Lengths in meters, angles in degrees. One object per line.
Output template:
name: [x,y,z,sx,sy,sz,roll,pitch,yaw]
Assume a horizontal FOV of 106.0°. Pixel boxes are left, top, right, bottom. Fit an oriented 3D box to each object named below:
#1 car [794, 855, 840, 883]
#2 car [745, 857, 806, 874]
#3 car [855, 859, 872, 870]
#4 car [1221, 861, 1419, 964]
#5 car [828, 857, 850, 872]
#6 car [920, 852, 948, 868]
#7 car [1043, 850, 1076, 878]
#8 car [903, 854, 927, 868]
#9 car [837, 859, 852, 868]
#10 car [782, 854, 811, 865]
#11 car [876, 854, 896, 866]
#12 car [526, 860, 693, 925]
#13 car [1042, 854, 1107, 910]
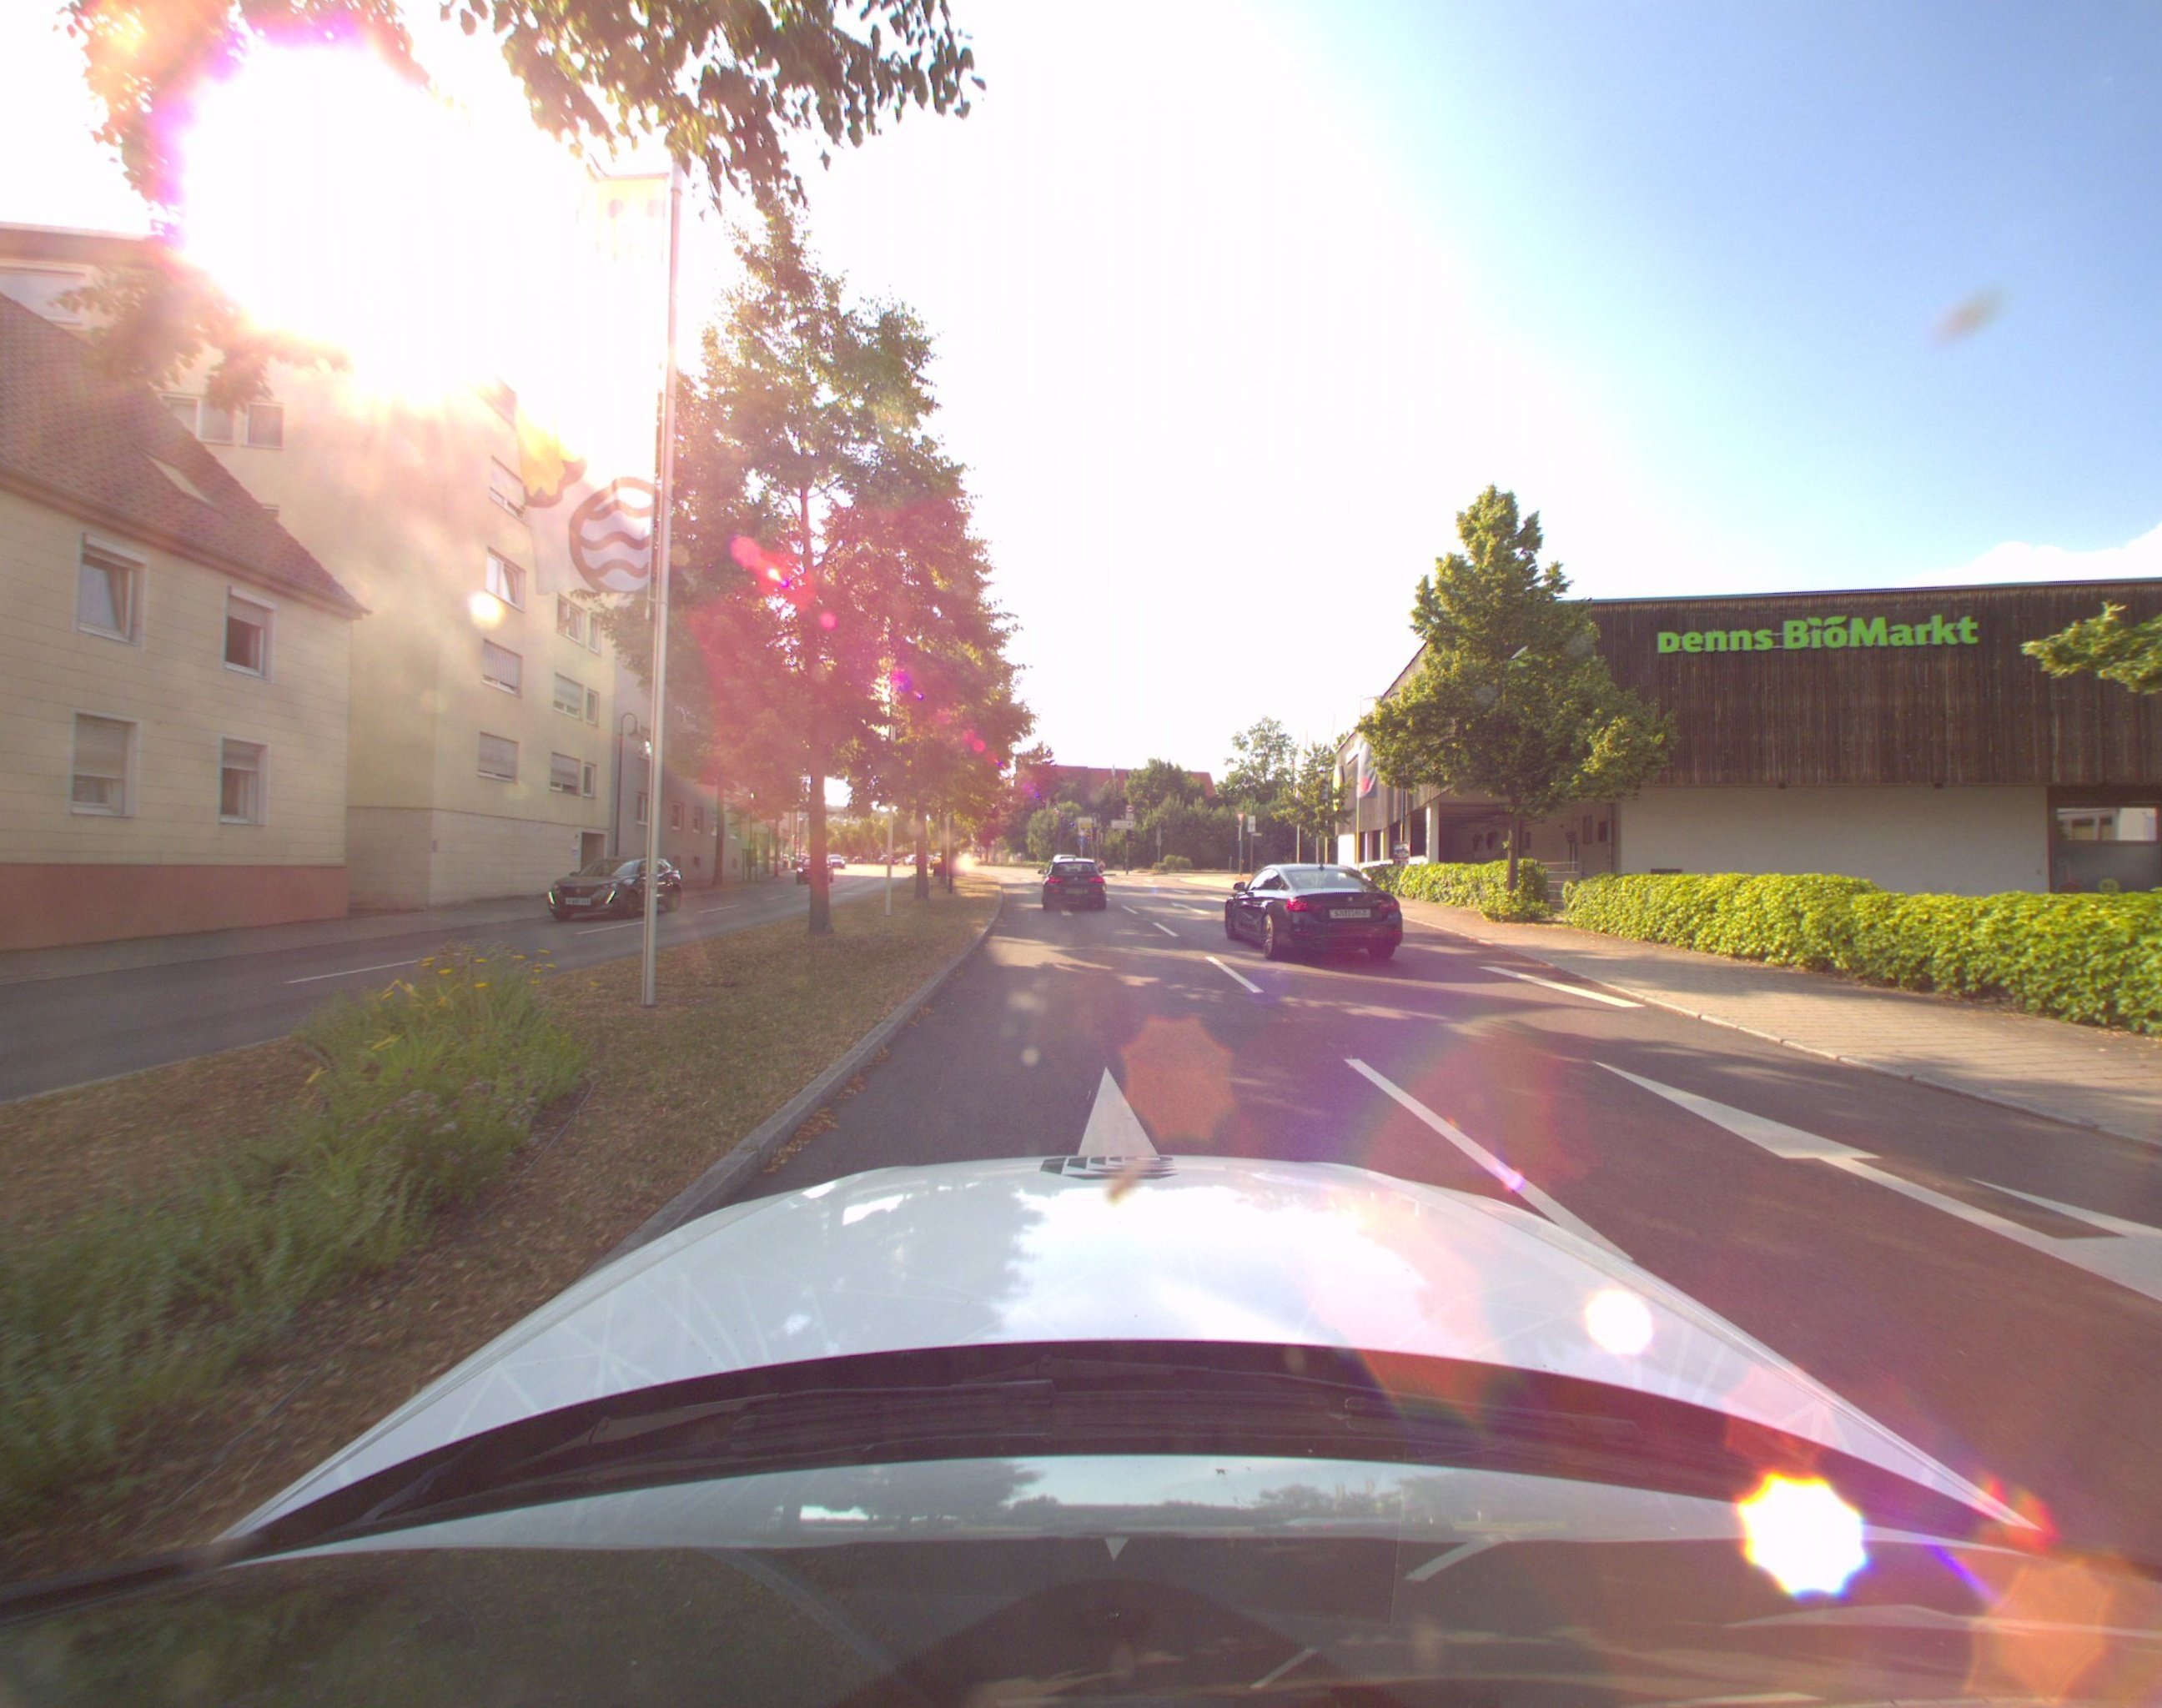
car: [-14.589,0.813,45.137,1.603,1.486,3.777,0,0,-5]
car: [-27.096,0.978,72.491,4.865,1.436,1.908,0,-1,-14]
car: [-38.691,1.865,144.765,2.228,1.859,4.417,0,0,-25]
car: [3.557,0.801,13.028,1.914,1.364,4.352,0,-1,0]
car: [-25.525,1.062,85.833,1.859,1.486,4.961,0,0,-21]
car: [-17.348,0.723,95.744,2.228,1.769,4.417,0,0,-25]
car: [-1.445,0.637,53.153,1.922,1.769,4.445,0,0,-5]
car: [-22.467,0.958,109.948,2.228,1.769,4.417,0,0,-25]
car: [-47.067,1.967,162.260,2.228,1.769,4.417,0,0,-25]
car: [-43.541,0.874,124.734,4.859,1.736,1.870,-1,-1,38]
car: [-30.406,0.919,126.698,2.228,1.769,4.417,0,0,-25]
car: [-12.041,0.908,21.177,1.935,1.486,4.320,-1,0,-2]
car: [-0.243,0.764,23.974,1.716,1.490,4.349,0,-1,-2]
